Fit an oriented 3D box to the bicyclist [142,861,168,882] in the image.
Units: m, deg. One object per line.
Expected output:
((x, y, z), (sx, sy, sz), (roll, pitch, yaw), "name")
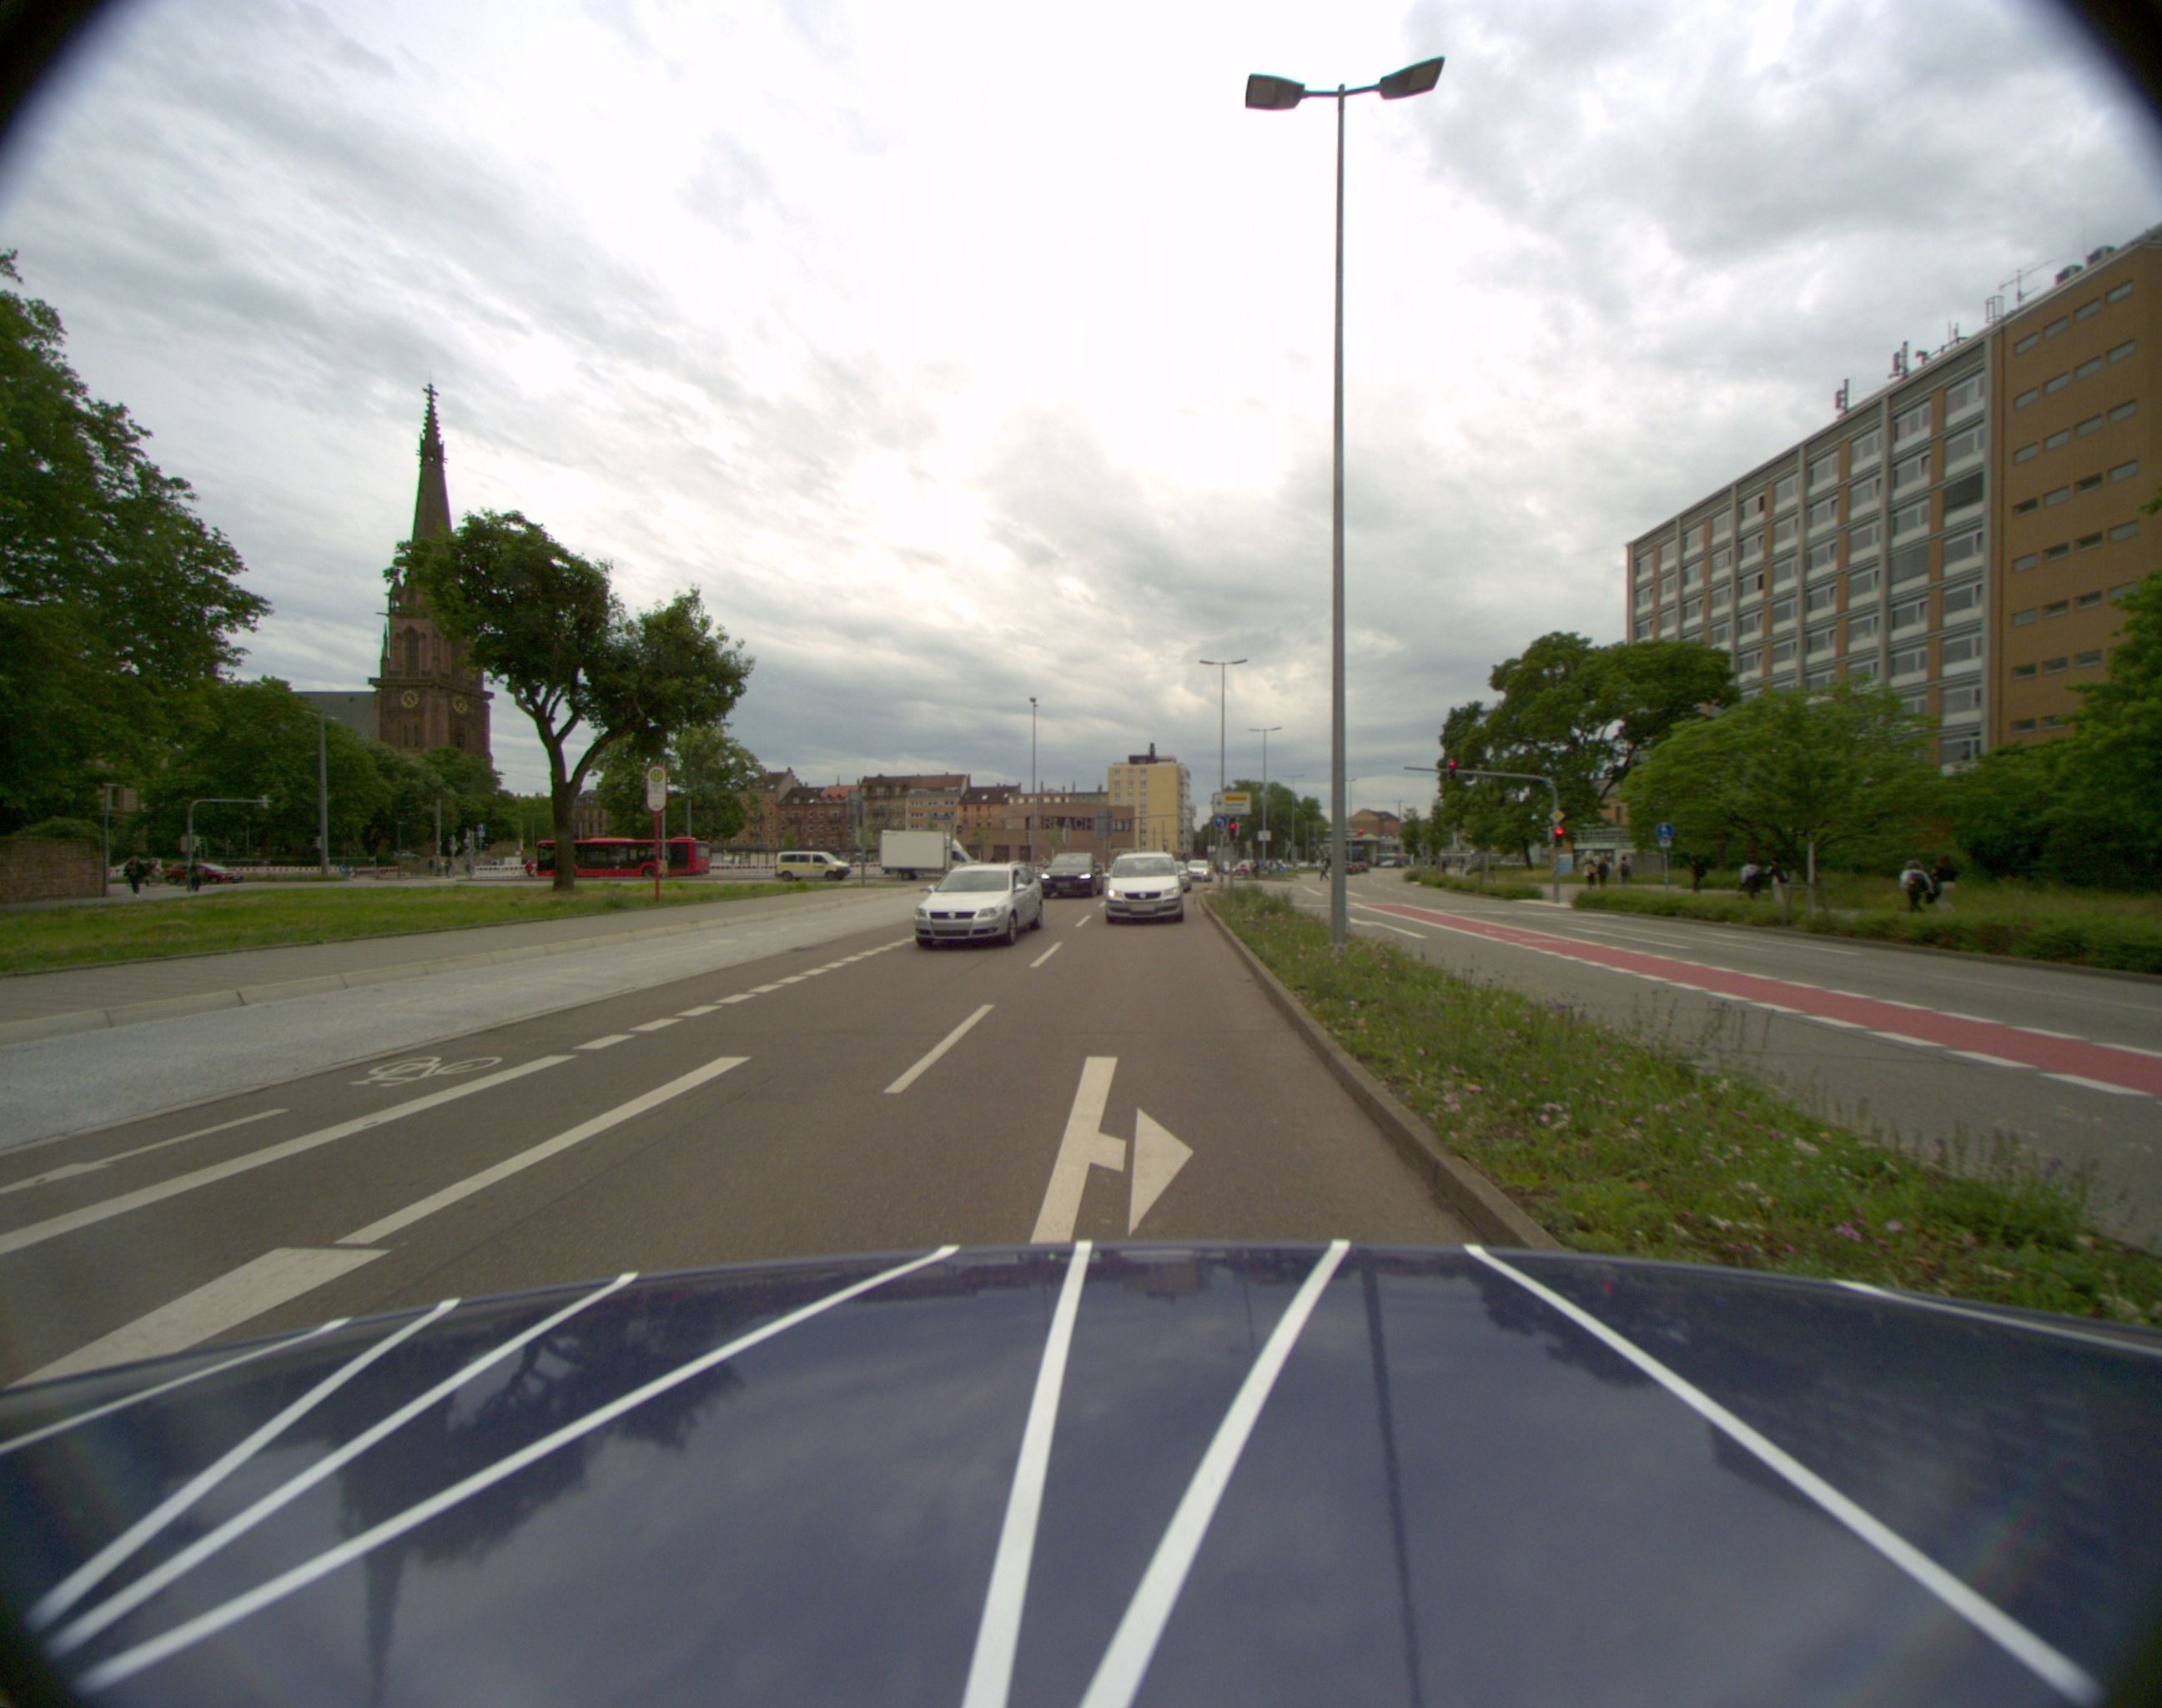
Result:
((-61.007, 1.132, 50.077), (0.741, 1.349, 0.792), (1, 0, -8), "bicyclist")

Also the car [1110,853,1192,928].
((1.660, 0.798, 18.437), (1.733, 1.593, 4.107), (-1, 0, 4), "car")

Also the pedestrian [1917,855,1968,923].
((22.255, 0.897, 19.649), (0.579, 1.702, 0.763), (2, 0, 25), "pedestrian")

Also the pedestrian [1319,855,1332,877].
((20.930, 1.013, 65.071), (0.768, 1.794, 0.739), (1, 0, -17), "pedestrian")

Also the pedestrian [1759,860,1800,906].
((23.091, 0.949, 25.129), (0.636, 1.471, 0.762), (2, 0, 9), "pedestrian")

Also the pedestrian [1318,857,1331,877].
((20.027, 1.053, 62.544), (0.777, 1.657, 0.707), (1, 0, -3), "pedestrian")

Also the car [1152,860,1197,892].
((4.460, 0.985, 35.676), (1.725, 1.406, 4.249), (-1, 0, 12), "car")

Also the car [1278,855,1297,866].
((33.320, 1.036, 122.594), (1.834, 1.753, 3.920), (2, 0, 34), "car")

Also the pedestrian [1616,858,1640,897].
((25.690, 1.088, 35.692), (0.638, 1.790, 0.762), (0, 0, 9), "pedestrian")

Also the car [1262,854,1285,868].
((28.438, 1.050, 112.343), (1.994, 1.870, 4.009), (2, 0, 34), "car")

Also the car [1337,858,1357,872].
((32.505, 1.323, 92.815), (1.812, 1.657, 3.956), (2, 1, 28), "car")

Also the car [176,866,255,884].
((-59.874, 1.462, 52.591), (3.537, 1.149, 1.446), (2, 0, -7), "car")

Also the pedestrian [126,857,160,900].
((-38.894, 1.003, 31.506), (0.759, 1.725, 0.820), (1, 0, -43), "pedestrian")

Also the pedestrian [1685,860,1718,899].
((25.991, 1.044, 31.851), (0.635, 1.603, 0.829), (-1, 0, -16), "pedestrian")

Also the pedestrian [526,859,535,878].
((-43.249, 1.114, 59.659), (0.371, 1.458, 0.374), (2, 0, 4), "pedestrian")

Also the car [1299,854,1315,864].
((39.168, 0.843, 131.891), (1.801, 1.586, 3.767), (2, 0, 30), "car")

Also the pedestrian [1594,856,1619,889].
((27.356, 0.969, 39.549), (0.708, 1.661, 0.890), (-1, 0, 9), "pedestrian")

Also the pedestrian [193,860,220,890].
((-48.799, 1.169, 42.408), (0.871, 1.628, 0.693), (0, 0, 19), "pedestrian")

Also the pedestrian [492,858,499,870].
((-57.776, 0.994, 75.026), (0.373, 1.189, 0.372), (2, 0, 4), "pedestrian")

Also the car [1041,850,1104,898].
((-0.238, 0.686, 28.371), (1.911, 1.615, 4.492), (-1, 0, 4), "car")

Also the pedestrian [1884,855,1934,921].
((21.537, 0.870, 19.771), (0.622, 1.685, 0.748), (2, 0, 26), "pedestrian")

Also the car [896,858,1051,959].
((-1.928, 0.945, 15.136), (1.828, 1.542, 4.529), (-2, 1, 8), "car")

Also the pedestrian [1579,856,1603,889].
((26.627, 0.956, 39.661), (0.708, 1.661, 0.944), (0, 0, 9), "pedestrian")

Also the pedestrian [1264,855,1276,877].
((15.741, 1.020, 63.287), (0.917, 1.794, 0.541), (2, 0, 21), "pedestrian")

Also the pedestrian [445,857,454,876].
((-55.345, 1.106, 66.587), (0.373, 1.695, 0.372), (2, 0, 4), "pedestrian")

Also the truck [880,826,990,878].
((-9.826, -0.166, 51.625), (6.849, 3.392, 2.560), (-1, 2, 0), "truck")

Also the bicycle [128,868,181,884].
((-61.050, 1.448, 50.078), (2.221, 1.032, 0.792), (2, 0, -9), "bicycle")

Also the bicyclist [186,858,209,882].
((-58.210, 1.047, 50.067), (0.782, 1.512, 0.601), (1, 0, -10), "bicyclist")

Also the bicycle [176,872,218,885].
((-58.244, 1.593, 50.062), (1.821, 0.815, 0.601), (2, 0, -10), "bicycle")

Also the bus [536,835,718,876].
((-34.146, 0.108, 57.450), (12.086, 2.891, 2.938), (0, 0, 2), "bus")

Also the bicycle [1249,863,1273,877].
((15.755, 1.399, 66.537), (2.004, 1.136, 0.807), (1, 0, 7), "bicycle")

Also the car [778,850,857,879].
((-17.881, 0.701, 51.701), (4.710, 1.908, 1.920), (0, 2, 2), "car")

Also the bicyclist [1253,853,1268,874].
((15.702, 0.833, 66.530), (1.191, 1.725, 0.807), (1, 0, 7), "bicyclist")

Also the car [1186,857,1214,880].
((8.182, 0.995, 52.057), (1.784, 1.454, 3.874), (-1, 0, 10), "car")

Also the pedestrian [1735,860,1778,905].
((22.360, 0.928, 25.165), (0.730, 1.471, 0.813), (2, 0, 9), "pedestrian")
